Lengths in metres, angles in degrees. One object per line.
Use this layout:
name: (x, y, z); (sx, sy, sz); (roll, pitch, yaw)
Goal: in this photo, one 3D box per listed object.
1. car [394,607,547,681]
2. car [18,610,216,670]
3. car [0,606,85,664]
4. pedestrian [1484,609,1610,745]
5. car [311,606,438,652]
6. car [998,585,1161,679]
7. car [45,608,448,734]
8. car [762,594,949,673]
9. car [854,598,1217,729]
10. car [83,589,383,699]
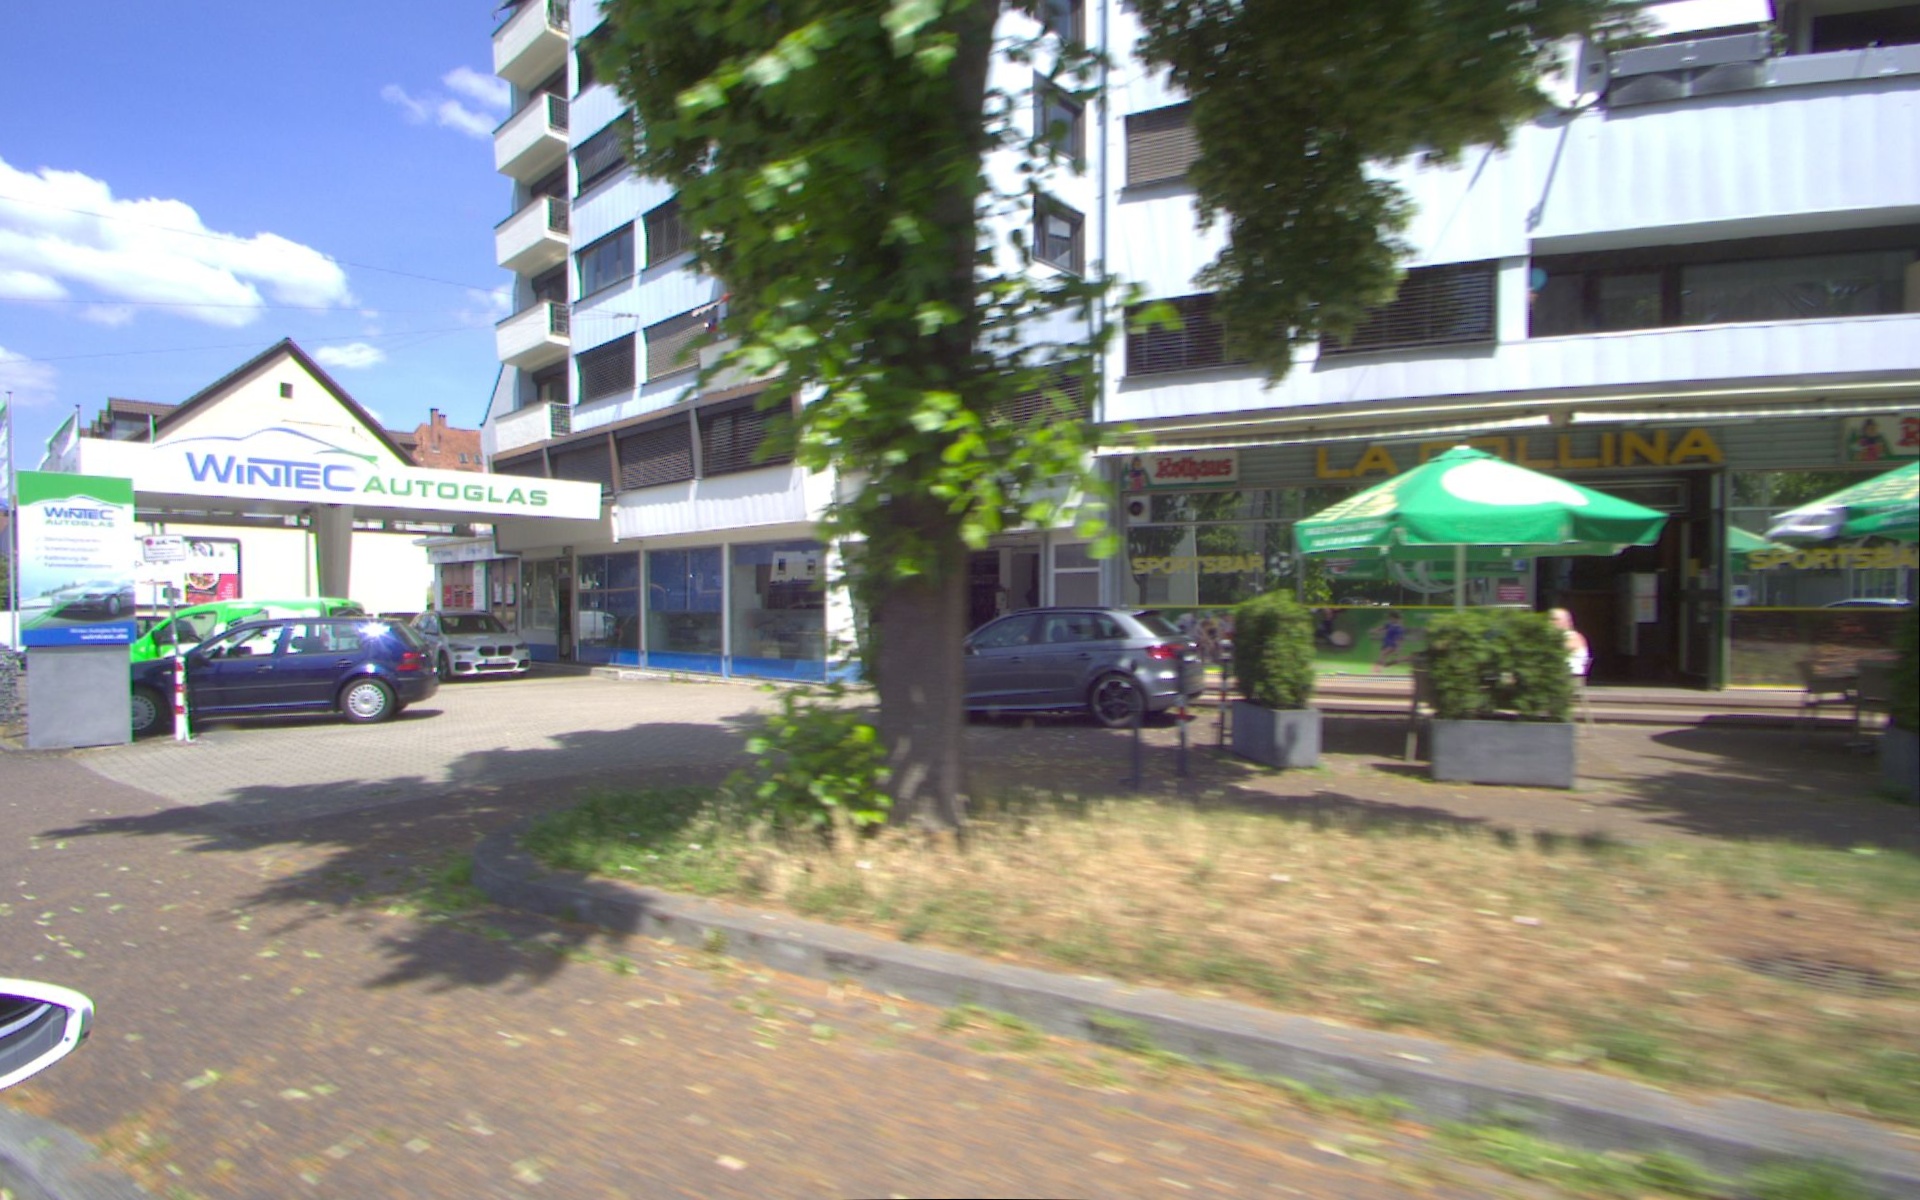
car: (-11.916, 1.011, 24.253); (4.243, 1.616, 1.996); (-1, -1, 44)
car: (-23.564, 1.067, 28.125); (1.797, 1.538, 3.921); (-1, 0, 33)
car: (-32.048, 1.142, 33.125); (1.970, 1.833, 4.299); (2, 0, 30)
pedestrian: (6.004, 0.757, 10.304); (0.999, 1.322, 0.814); (0, 0, 22)
car: (-25.205, 1.242, 43.209); (1.976, 1.833, 4.285); (2, 0, 40)
car: (2.595, 0.639, 20.980); (1.830, 1.772, 3.906); (0, -1, 34)
car: (-9.381, 0.873, 13.641); (4.104, 1.458, 1.896); (-1, 0, -23)
car: (-2.460, 0.719, 22.774); (1.981, 1.606, 4.338); (0, -1, -44)
car: (0.926, 0.753, 12.751); (4.293, 1.447, 1.702); (-1, -1, 26)
car: (-12.880, 0.753, 17.968); (3.947, 1.818, 1.841); (-1, 0, -4)
